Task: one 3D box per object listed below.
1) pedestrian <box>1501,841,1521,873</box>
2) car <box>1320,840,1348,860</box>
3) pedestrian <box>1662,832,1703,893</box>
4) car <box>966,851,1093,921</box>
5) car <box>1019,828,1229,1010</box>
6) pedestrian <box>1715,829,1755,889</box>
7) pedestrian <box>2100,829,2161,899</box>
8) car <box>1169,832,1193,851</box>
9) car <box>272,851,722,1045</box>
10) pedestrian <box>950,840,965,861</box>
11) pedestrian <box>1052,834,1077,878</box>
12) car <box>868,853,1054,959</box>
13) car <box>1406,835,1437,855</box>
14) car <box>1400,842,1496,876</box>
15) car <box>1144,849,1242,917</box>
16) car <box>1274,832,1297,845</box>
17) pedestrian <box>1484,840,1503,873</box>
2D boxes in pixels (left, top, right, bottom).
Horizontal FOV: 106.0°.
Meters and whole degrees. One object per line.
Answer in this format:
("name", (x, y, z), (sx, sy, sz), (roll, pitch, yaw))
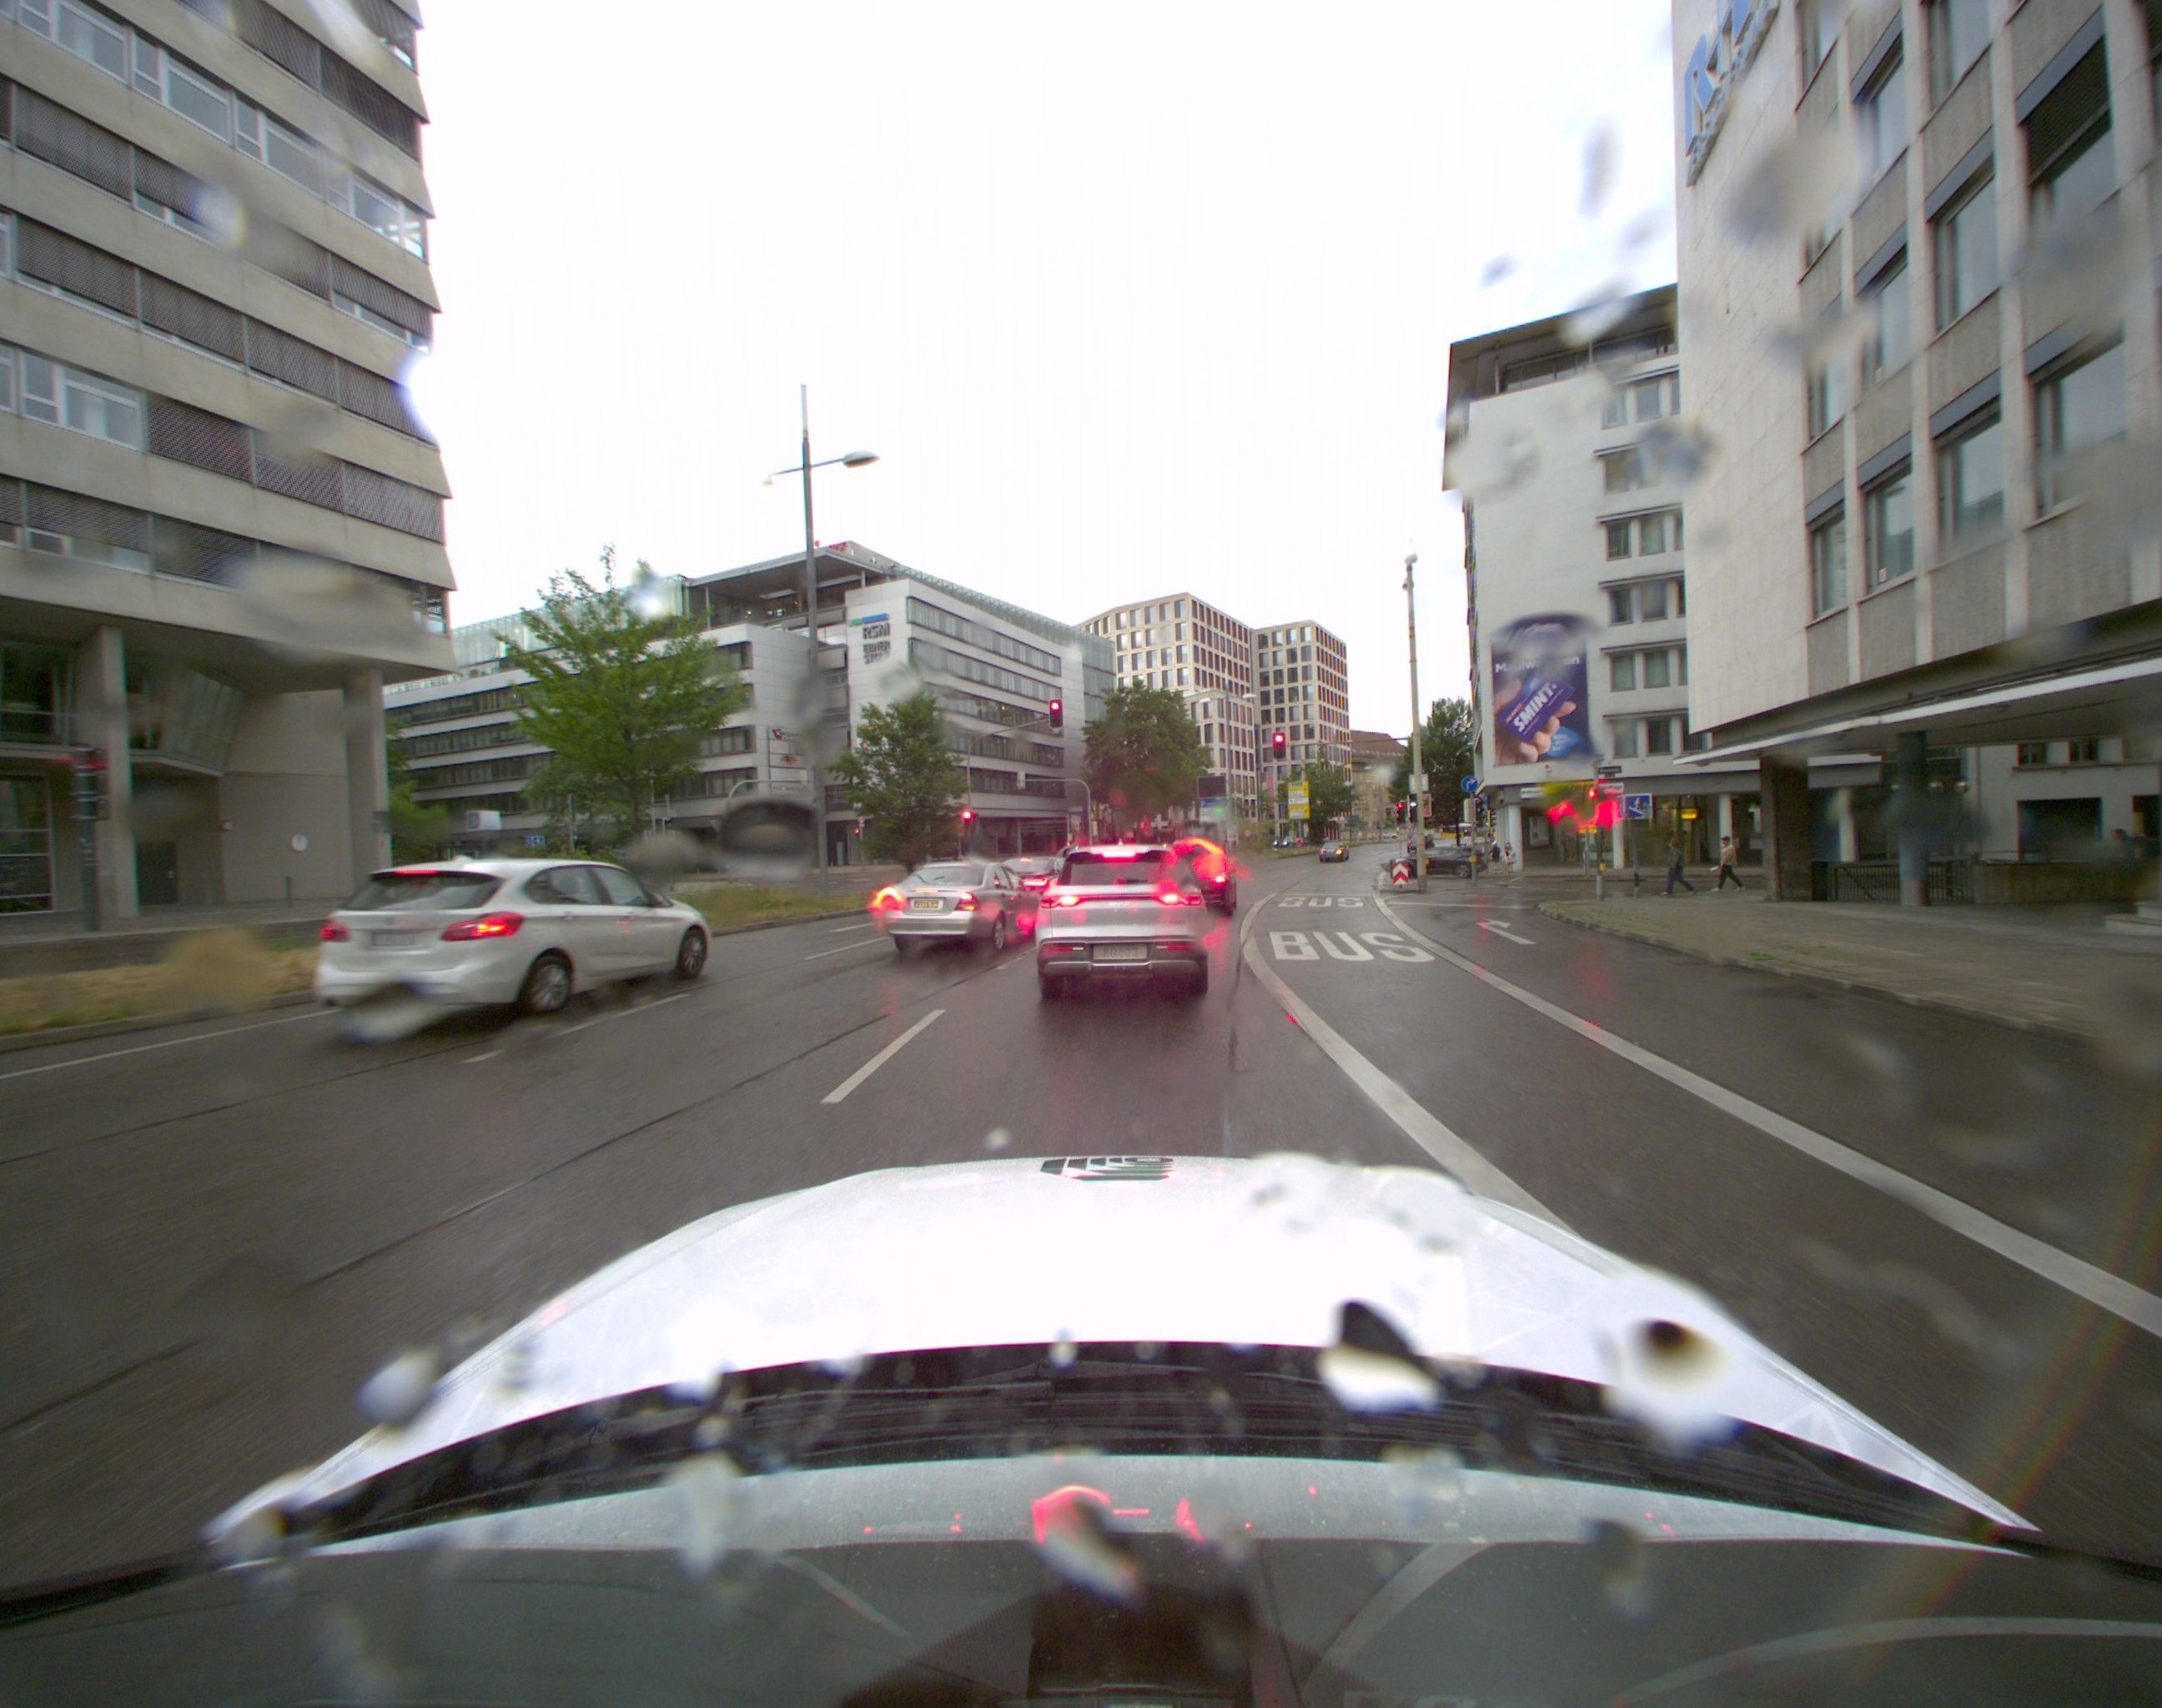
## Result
("pedestrian", (21.302, 0.146, 40.368), (0.721, 1.524, 0.763), (-1, -1, 19))
("car", (19.577, -0.323, 62.939), (1.894, 1.510, 4.379), (0, 1, 20))
("pedestrian", (18.318, 0.250, 24.804), (0.806, 1.798, 0.714), (-1, 0, 19))
("car", (-1.150, 0.723, 20.396), (1.940, 1.530, 4.016), (-1, 0, 15))
("car", (0.450, 0.610, 10.113), (1.987, 1.709, 4.483), (-2, 0, 1))
("pedestrian", (20.075, 0.151, 25.023), (0.721, 1.798, 0.743), (-1, 0, 19))
("pedestrian", (27.190, 0.250, 21.040), (0.800, 1.755, 1.006), (0, 0, -42))
("car", (11.688, -1.399, 94.889), (1.722, 2.161, 4.518), (0, 0, 22))
("car", (-5.870, 0.784, 9.012), (1.777, 1.573, 4.288), (-2, 0, 1))
("pedestrian", (-10.142, -0.270, 66.883), (0.720, 1.727, 0.930), (-1, 0, 26))
("pedestrian", (-0.654, 0.078, 32.483), (0.919, 1.738, 0.729), (-2, 0, -1))
("car", (-1.842, 0.762, 13.974), (1.670, 1.486, 4.212), (-1, 0, 13))
("car", (31.900, -0.867, 76.266), (2.027, 1.765, 4.384), (0, 1, 31))
("car", (17.711, 0.217, 39.319), (3.948, 1.552, 2.013), (0, 1, 34))
("car", (2.938, 0.667, 20.642), (1.940, 1.530, 4.016), (-1, 0, 15))
("car", (29.334, -2.265, 116.988), (1.974, 1.705, 4.026), (0, 2, 33))
("pedestrian", (20.766, 0.123, 41.023), (0.721, 1.668, 0.694), (-1, -1, 19))
